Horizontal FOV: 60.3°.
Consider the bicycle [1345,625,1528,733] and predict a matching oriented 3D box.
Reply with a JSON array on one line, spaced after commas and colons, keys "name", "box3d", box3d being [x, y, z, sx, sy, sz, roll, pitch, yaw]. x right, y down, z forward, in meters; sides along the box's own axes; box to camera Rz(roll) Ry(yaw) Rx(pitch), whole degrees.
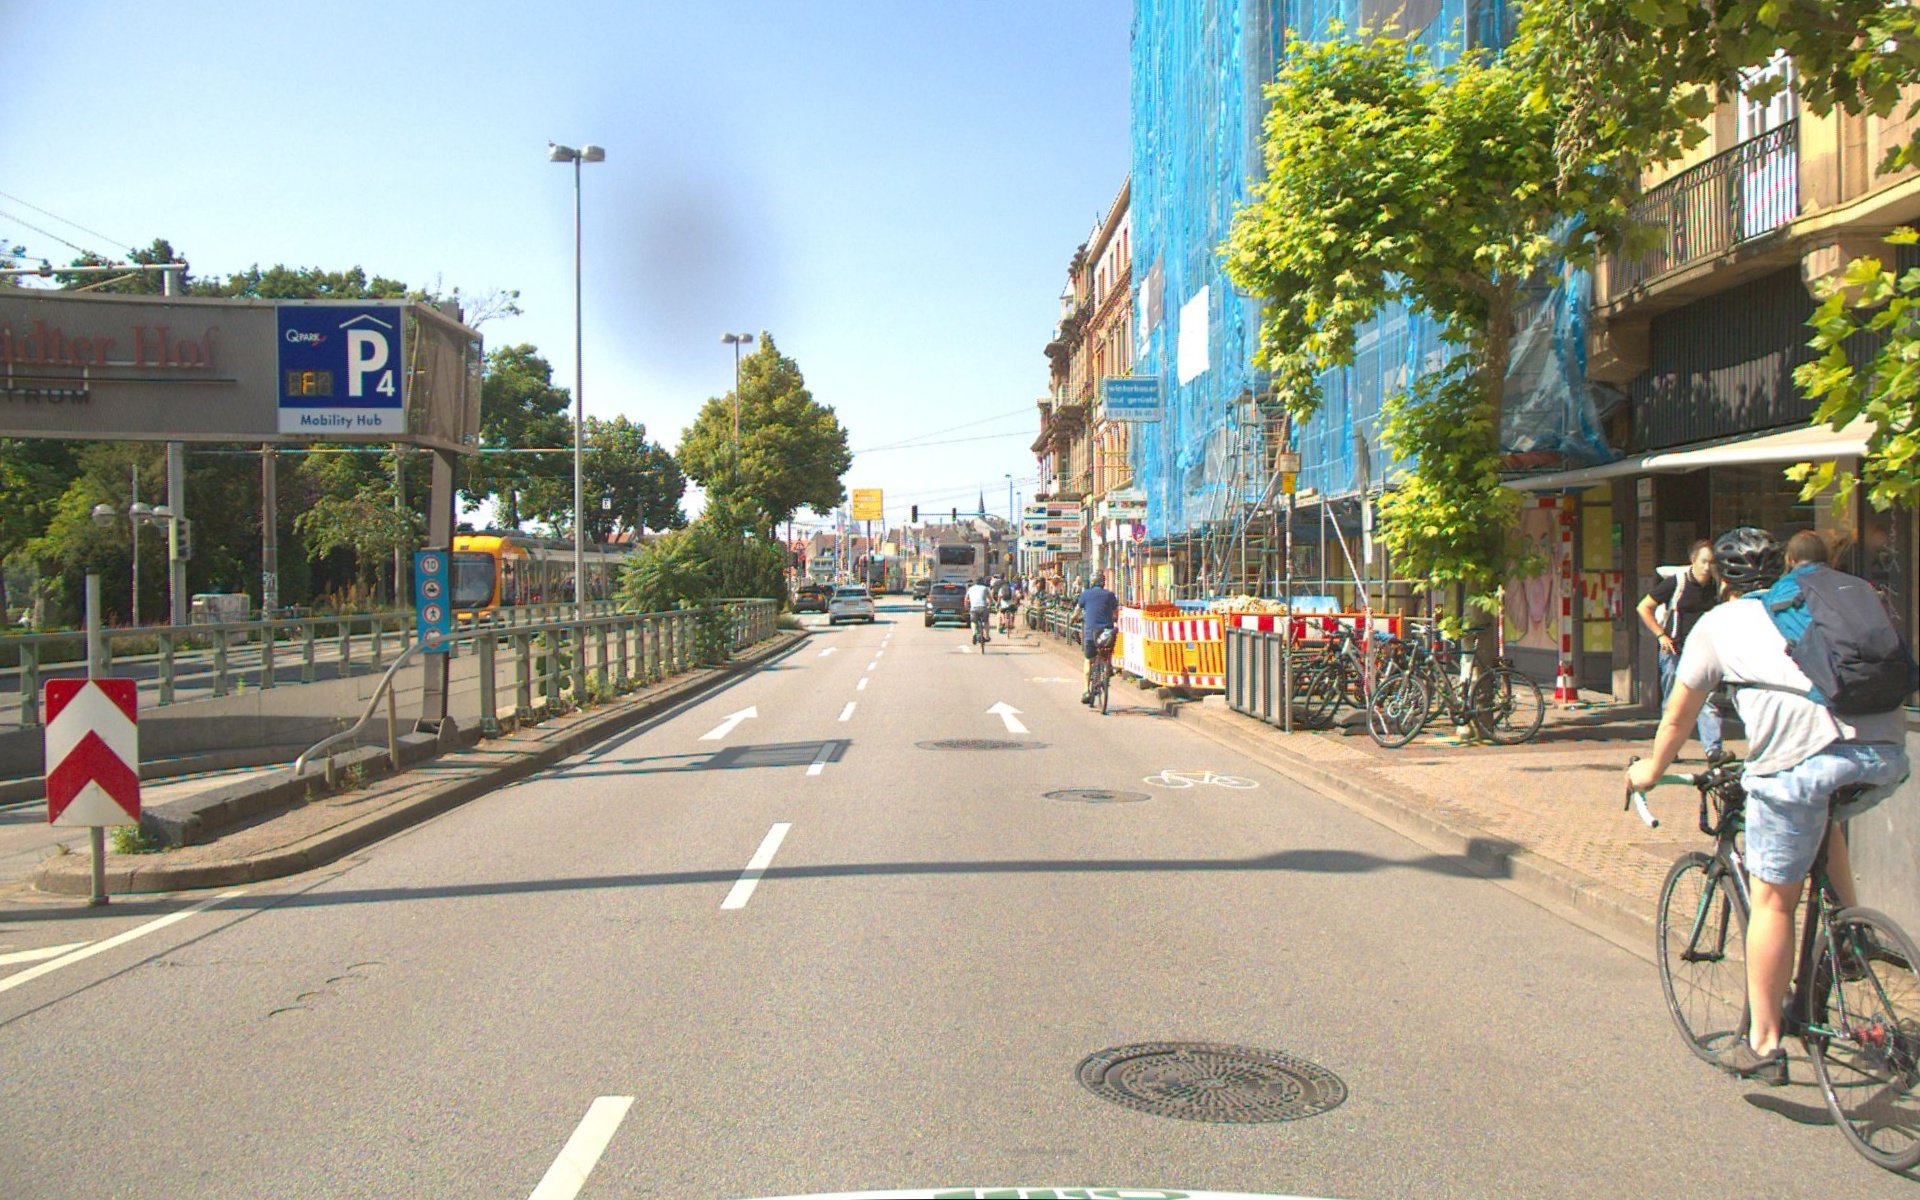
[{"name": "bicycle", "box3d": [4.698, 0.767, 16.328, 1.722, 1.036, 0.481, 0, 0, -12]}]

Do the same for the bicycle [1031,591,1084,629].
[{"name": "bicycle", "box3d": [3.150, 0.315, 53.541, 1.659, 1.199, 0.490, 1, 0, -1]}]

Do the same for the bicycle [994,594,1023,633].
[{"name": "bicycle", "box3d": [1.428, 0.383, 49.265, 0.719, 1.112, 1.897, 2, 0, -2]}]

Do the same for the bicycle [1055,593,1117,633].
[{"name": "bicycle", "box3d": [3.527, 0.365, 46.450, 1.659, 1.106, 0.608, 1, 0, -1]}]

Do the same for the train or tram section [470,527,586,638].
[{"name": "train or tram section", "box3d": [-15.232, -0.582, 58.778, 2.561, 3.643, 6.101, 2, 0, -2]}]

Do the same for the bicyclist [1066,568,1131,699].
[{"name": "bicyclist", "box3d": [1.793, 0.428, 21.508, 0.674, 1.644, 0.918, 2, 0, -3]}]

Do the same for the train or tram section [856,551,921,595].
[{"name": "train or tram section", "box3d": [-6.305, -2.335, 147.723, 2.763, 3.643, 10.038, 2, 0, 16]}]

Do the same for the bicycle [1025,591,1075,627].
[{"name": "bicycle", "box3d": [3.085, 0.304, 56.867, 1.659, 1.199, 0.460, 1, 0, -1]}]

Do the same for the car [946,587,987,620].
[{"name": "car", "box3d": [0.313, 0.166, 82.066, 1.953, 1.519, 4.000, 2, 0, 0]}]

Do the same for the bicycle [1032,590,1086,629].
[{"name": "bicycle", "box3d": [3.168, 0.307, 52.973, 1.659, 1.199, 0.497, 1, 0, -1]}]

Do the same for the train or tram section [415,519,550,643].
[{"name": "train or tram section", "box3d": [-15.077, -0.576, 52.677, 2.561, 3.643, 6.101, 2, 0, -2]}]

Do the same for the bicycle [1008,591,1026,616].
[{"name": "bicycle", "box3d": [2.593, 0.165, 75.404, 0.719, 1.112, 1.897, 2, 0, -1]}]

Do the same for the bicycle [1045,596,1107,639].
[{"name": "bicycle", "box3d": [3.354, 0.509, 47.942, 1.735, 1.199, 0.608, 1, 0, -1]}]

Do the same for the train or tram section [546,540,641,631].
[{"name": "train or tram section", "box3d": [-15.546, -0.595, 70.625, 2.561, 3.643, 6.896, 2, 0, -2]}]

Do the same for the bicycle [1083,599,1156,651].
[{"name": "bicycle", "box3d": [3.793, 0.593, 39.394, 1.659, 1.199, 0.608, 1, 0, -1]}]

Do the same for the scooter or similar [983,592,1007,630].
[{"name": "scooter or similar", "box3d": [1.146, 0.345, 53.995, 0.674, 1.188, 1.463, 2, 0, -2]}]

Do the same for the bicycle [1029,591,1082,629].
[{"name": "bicycle", "box3d": [3.119, 0.322, 54.110, 1.659, 1.199, 0.451, 1, 0, -1]}]

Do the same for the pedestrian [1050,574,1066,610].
[{"name": "pedestrian", "box3d": [4.521, -0.368, 76.206, 0.641, 1.649, 0.815, -1, 1, -3]}]

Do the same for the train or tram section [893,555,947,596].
[{"name": "train or tram section", "box3d": [-3.723, -2.250, 156.624, 2.763, 3.643, 8.231, 2, 0, 16]}]

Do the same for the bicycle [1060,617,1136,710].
[{"name": "bicycle", "box3d": [1.776, 0.806, 21.585, 0.719, 1.112, 1.910, 2, 0, -3]}]

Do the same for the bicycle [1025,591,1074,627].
[{"name": "bicycle", "box3d": [3.096, 0.310, 57.404, 1.659, 1.199, 0.469, 1, 0, -1]}]

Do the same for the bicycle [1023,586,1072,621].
[{"name": "bicycle", "box3d": [3.054, 0.123, 57.970, 1.659, 1.199, 0.608, -1, 1, -1]}]

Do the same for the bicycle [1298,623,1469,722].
[{"name": "bicycle", "box3d": [4.549, 0.777, 17.783, 1.718, 1.036, 0.482, 0, 0, -4]}]

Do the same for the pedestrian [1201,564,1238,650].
[{"name": "pedestrian", "box3d": [5.514, 0.148, 35.185, 0.626, 1.807, 0.649, 2, 0, -2]}]

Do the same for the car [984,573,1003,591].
[{"name": "car", "box3d": [3.749, -1.959, 182.484, 1.952, 1.910, 4.002, -1, 0, 3]}]

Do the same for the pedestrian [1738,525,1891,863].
[{"name": "pedestrian", "box3d": [4.530, 0.479, 8.803, 0.643, 1.712, 0.653, 0, -1, 22]}]

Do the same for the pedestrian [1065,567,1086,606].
[{"name": "pedestrian", "box3d": [5.124, -0.581, 73.595, 0.740, 1.684, 0.837, -3, -1, -2]}]

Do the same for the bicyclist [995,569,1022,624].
[{"name": "bicyclist", "box3d": [1.430, -0.108, 49.316, 0.674, 1.604, 1.049, 2, 0, -3]}]

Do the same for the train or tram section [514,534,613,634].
[{"name": "train or tram section", "box3d": [-15.379, -0.588, 64.515, 2.561, 3.643, 5.355, 2, 0, -2]}]

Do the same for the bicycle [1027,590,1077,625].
[{"name": "bicycle", "box3d": [3.185, 0.255, 57.377, 1.659, 1.199, 0.469, 1, 0, -1]}]

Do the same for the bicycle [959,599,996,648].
[{"name": "bicycle", "box3d": [0.405, 0.546, 39.260, 0.719, 1.112, 1.897, 2, 0, -3]}]

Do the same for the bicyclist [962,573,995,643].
[{"name": "bicyclist", "box3d": [0.443, 0.189, 39.251, 0.674, 1.604, 1.049, 2, 0, -3]}]

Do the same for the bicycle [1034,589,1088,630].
[{"name": "bicycle", "box3d": [3.194, 0.291, 52.311, 1.659, 1.262, 0.608, 1, 0, -1]}]

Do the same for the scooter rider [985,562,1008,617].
[{"name": "scooter rider", "box3d": [1.184, -0.351, 54.036, 0.674, 1.759, 0.778, 2, 0, -2]}]

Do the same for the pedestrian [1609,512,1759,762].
[{"name": "pedestrian", "box3d": [5.675, 0.282, 13.013, 0.797, 1.881, 0.892, -1, -1, 6]}]

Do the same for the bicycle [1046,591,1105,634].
[{"name": "bicycle", "box3d": [3.393, 0.365, 48.699, 1.659, 1.199, 0.608, 1, 0, -1]}]

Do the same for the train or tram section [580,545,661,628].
[{"name": "train or tram section", "box3d": [-15.734, -0.603, 77.056, 2.561, 3.643, 6.015, 2, 0, -2]}]

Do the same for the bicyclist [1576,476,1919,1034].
[{"name": "bicyclist", "box3d": [2.462, 0.421, 5.031, 0.674, 1.488, 1.142, 2, 0, -3]}]

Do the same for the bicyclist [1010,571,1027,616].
[{"name": "bicyclist", "box3d": [2.648, -0.306, 75.295, 0.674, 1.996, 0.778, 2, 0, -2]}]

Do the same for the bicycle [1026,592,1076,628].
[{"name": "bicycle", "box3d": [3.111, 0.331, 56.329, 1.659, 1.199, 0.459, 1, 0, -1]}]

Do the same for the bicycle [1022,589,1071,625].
[{"name": "bicycle", "box3d": [3.054, 0.238, 58.626, 1.659, 1.199, 0.608, -2, 1, -1]}]

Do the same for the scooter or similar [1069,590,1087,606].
[{"name": "scooter or similar", "box3d": [5.205, -0.072, 73.016, 0.677, 0.661, 0.565, -4, 0, -2]}]

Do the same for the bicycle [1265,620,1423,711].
[{"name": "bicycle", "box3d": [4.432, 0.753, 19.151, 1.718, 1.036, 0.482, 0, 0, -4]}]

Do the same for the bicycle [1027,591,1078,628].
[{"name": "bicycle", "box3d": [3.080, 0.330, 55.181, 1.659, 1.199, 0.457, 1, 0, -1]}]

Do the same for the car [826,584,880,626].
[{"name": "car", "box3d": [-4.117, 0.195, 64.016, 1.821, 1.533, 4.000, 2, 0, 0]}]

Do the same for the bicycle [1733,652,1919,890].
[{"name": "bicycle", "box3d": [4.563, 0.783, 7.679, 1.716, 1.036, 0.657, 0, 0, 21]}]

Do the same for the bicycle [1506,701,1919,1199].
[{"name": "bicycle", "box3d": [2.443, 0.943, 5.077, 0.719, 1.112, 2.129, 2, 0, -3]}]

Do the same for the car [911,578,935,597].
[{"name": "car", "box3d": [-2.674, -0.885, 119.027, 1.421, 1.323, 3.343, 2, 0, 3]}]

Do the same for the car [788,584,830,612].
[{"name": "car", "box3d": [-7.784, -0.090, 85.485, 1.778, 1.355, 4.000, 2, 0, 0]}]

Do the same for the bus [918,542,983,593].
[{"name": "bus", "box3d": [-0.659, -1.900, 99.401, 2.912, 2.825, 8.628, 2, 0, -7]}]

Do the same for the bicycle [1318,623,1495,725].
[{"name": "bicycle", "box3d": [4.630, 0.761, 17.198, 1.718, 1.036, 0.482, 0, 0, -4]}]

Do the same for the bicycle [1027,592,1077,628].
[{"name": "bicycle", "box3d": [3.100, 0.330, 55.747, 1.659, 1.199, 0.514, 1, 0, -1]}]

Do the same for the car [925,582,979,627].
[{"name": "car", "box3d": [-0.284, 0.150, 60.014, 1.835, 1.519, 4.000, 2, 0, 0]}]

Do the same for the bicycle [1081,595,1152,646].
[{"name": "bicycle", "box3d": [3.784, 0.491, 40.077, 1.659, 1.199, 0.608, 1, 0, -1]}]

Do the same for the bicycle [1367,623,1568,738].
[{"name": "bicycle", "box3d": [4.679, 0.739, 15.274, 1.718, 1.036, 0.482, 0, 0, -4]}]
